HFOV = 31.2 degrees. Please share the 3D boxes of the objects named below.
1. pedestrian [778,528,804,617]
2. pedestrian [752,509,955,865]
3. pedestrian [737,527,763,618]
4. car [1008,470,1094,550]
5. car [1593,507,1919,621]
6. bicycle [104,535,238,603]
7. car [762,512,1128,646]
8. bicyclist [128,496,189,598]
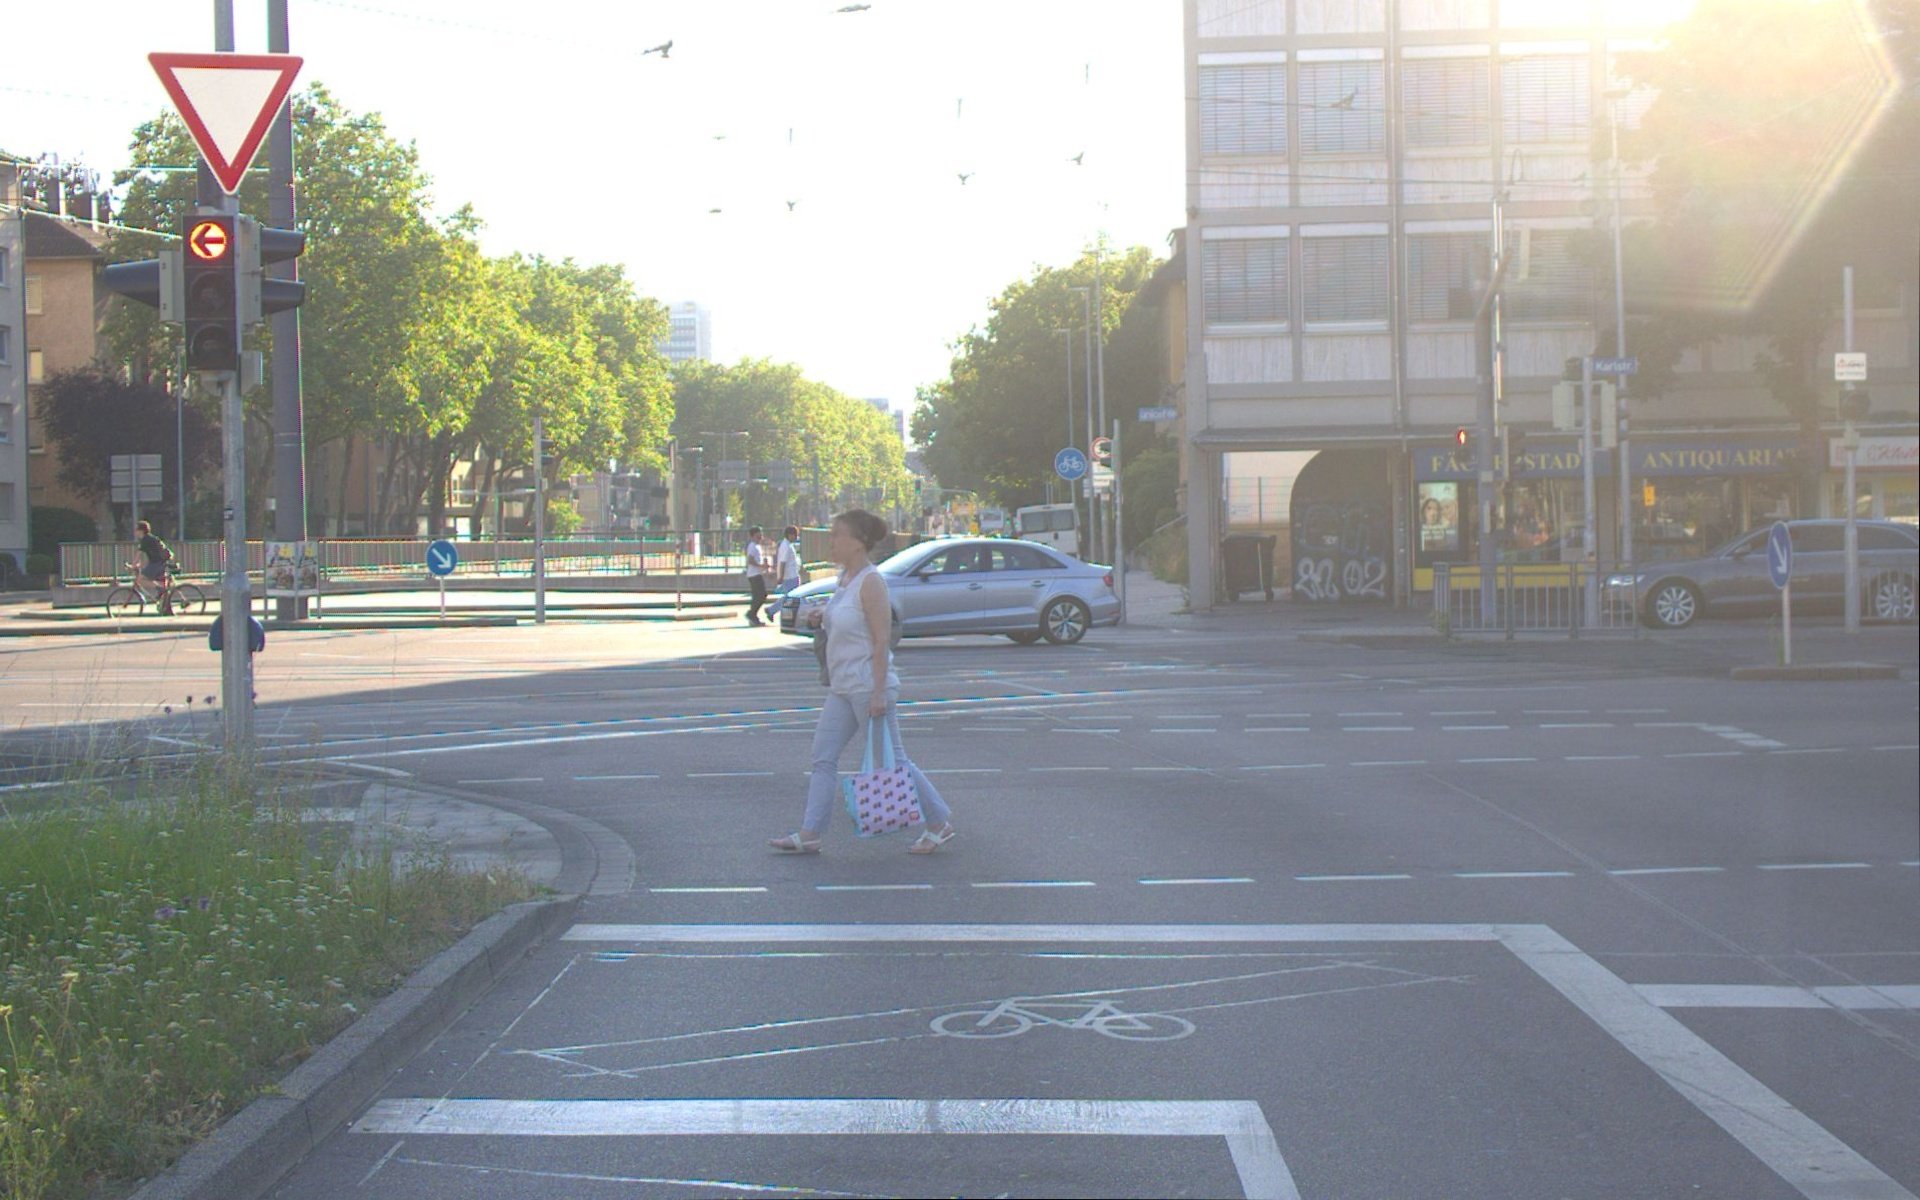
[{"bbox_3d":[-2.889,-0.475,58.811,0.365,1.502,0.543,-1,1,-6],"label":"pedestrian"},{"bbox_3d":[-0.482,0.387,15.851,0.878,1.592,0.655,-1,1,0],"label":"pedestrian"},{"bbox_3d":[-3.518,-0.467,57.655,0.365,1.502,0.543,-1,1,-6],"label":"pedestrian"},{"bbox_3d":[2.889,-2.855,110.646,2.486,2.384,5.935,-3,1,0],"label":"car"},{"bbox_3d":[11.111,-0.500,46.646,4.922,1.473,1.999,-1,1,11],"label":"car"},{"bbox_3d":[-13.772,-0.545,60.027,2.173,1.133,0.659,-1,1,-4],"label":"bicycle"},{"bbox_3d":[-0.214,-0.295,44.685,4.330,1.590,2.001,-2,1,-16],"label":"car"},{"bbox_3d":[-13.990,-0.929,60.004,0.898,1.747,0.650,-1,1,-3],"label":"bicyclist"}]
